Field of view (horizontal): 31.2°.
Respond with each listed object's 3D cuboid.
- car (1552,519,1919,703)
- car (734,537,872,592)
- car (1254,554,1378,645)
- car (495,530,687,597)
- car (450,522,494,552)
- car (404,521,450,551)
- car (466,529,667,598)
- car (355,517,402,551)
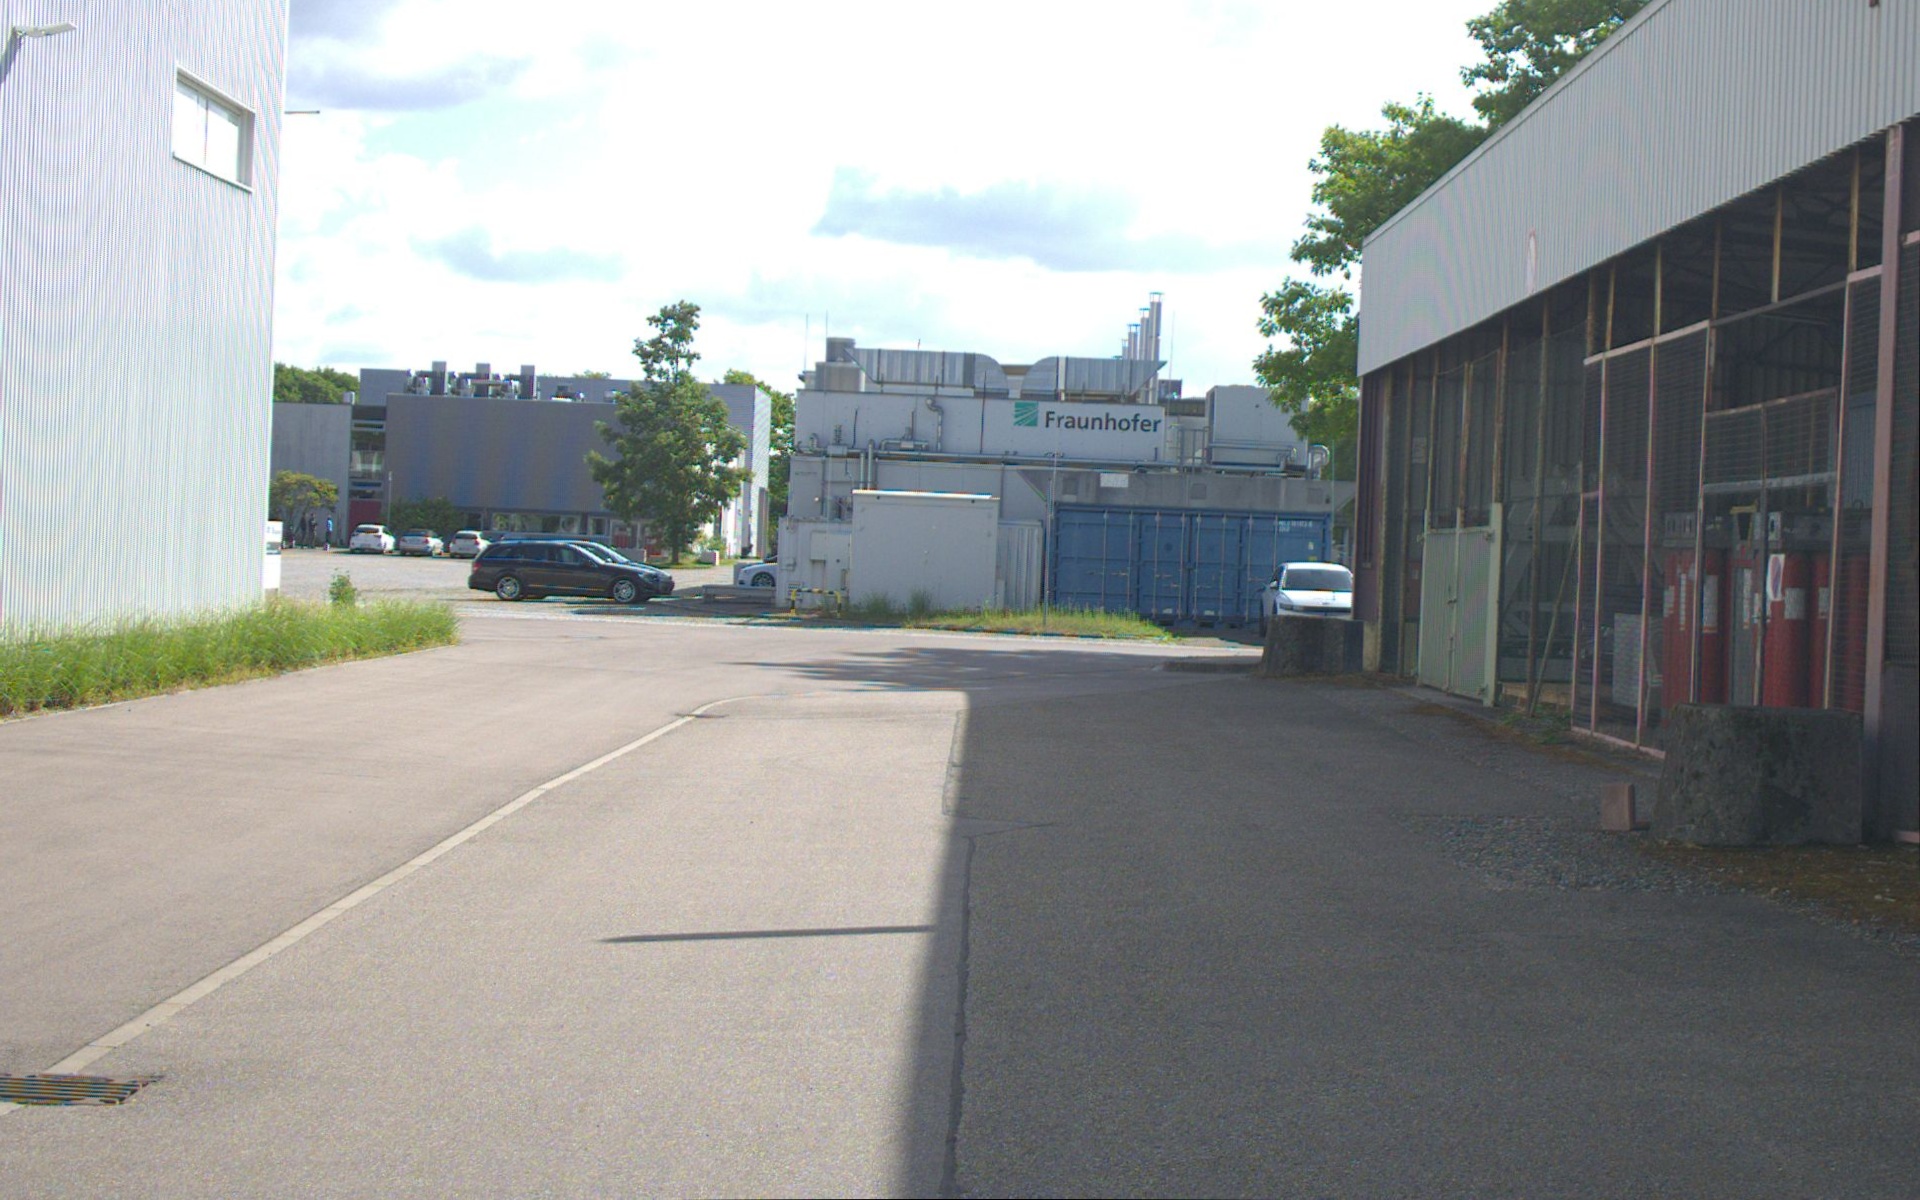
[{"bbox_3d":[9.650,0.142,39.385,5.164,1.912,2.279,2,0,-5],"label":"car"},{"bbox_3d":[-5.026,-1.135,110.334,4.279,1.564,1.987,2,-1,1],"label":"car"},{"bbox_3d":[7.199,-0.039,69.878,1.981,1.588,4.341,3,2,0],"label":"car"},{"bbox_3d":[-9.185,-0.906,85.884,4.529,1.438,1.904,2,-1,1],"label":"car"},{"bbox_3d":[-25.513,-3.292,179.795,1.877,1.532,4.036,1,1,-2],"label":"car"},{"bbox_3d":[-27.842,-3.321,179.595,1.877,1.532,4.036,1,1,-2],"label":"car"},{"bbox_3d":[-9.435,-0.866,82.628,4.529,1.438,1.987,2,-1,1],"label":"car"},{"bbox_3d":[-30.408,-3.432,179.770,1.877,1.684,4.036,1,1,-2],"label":"car"}]
